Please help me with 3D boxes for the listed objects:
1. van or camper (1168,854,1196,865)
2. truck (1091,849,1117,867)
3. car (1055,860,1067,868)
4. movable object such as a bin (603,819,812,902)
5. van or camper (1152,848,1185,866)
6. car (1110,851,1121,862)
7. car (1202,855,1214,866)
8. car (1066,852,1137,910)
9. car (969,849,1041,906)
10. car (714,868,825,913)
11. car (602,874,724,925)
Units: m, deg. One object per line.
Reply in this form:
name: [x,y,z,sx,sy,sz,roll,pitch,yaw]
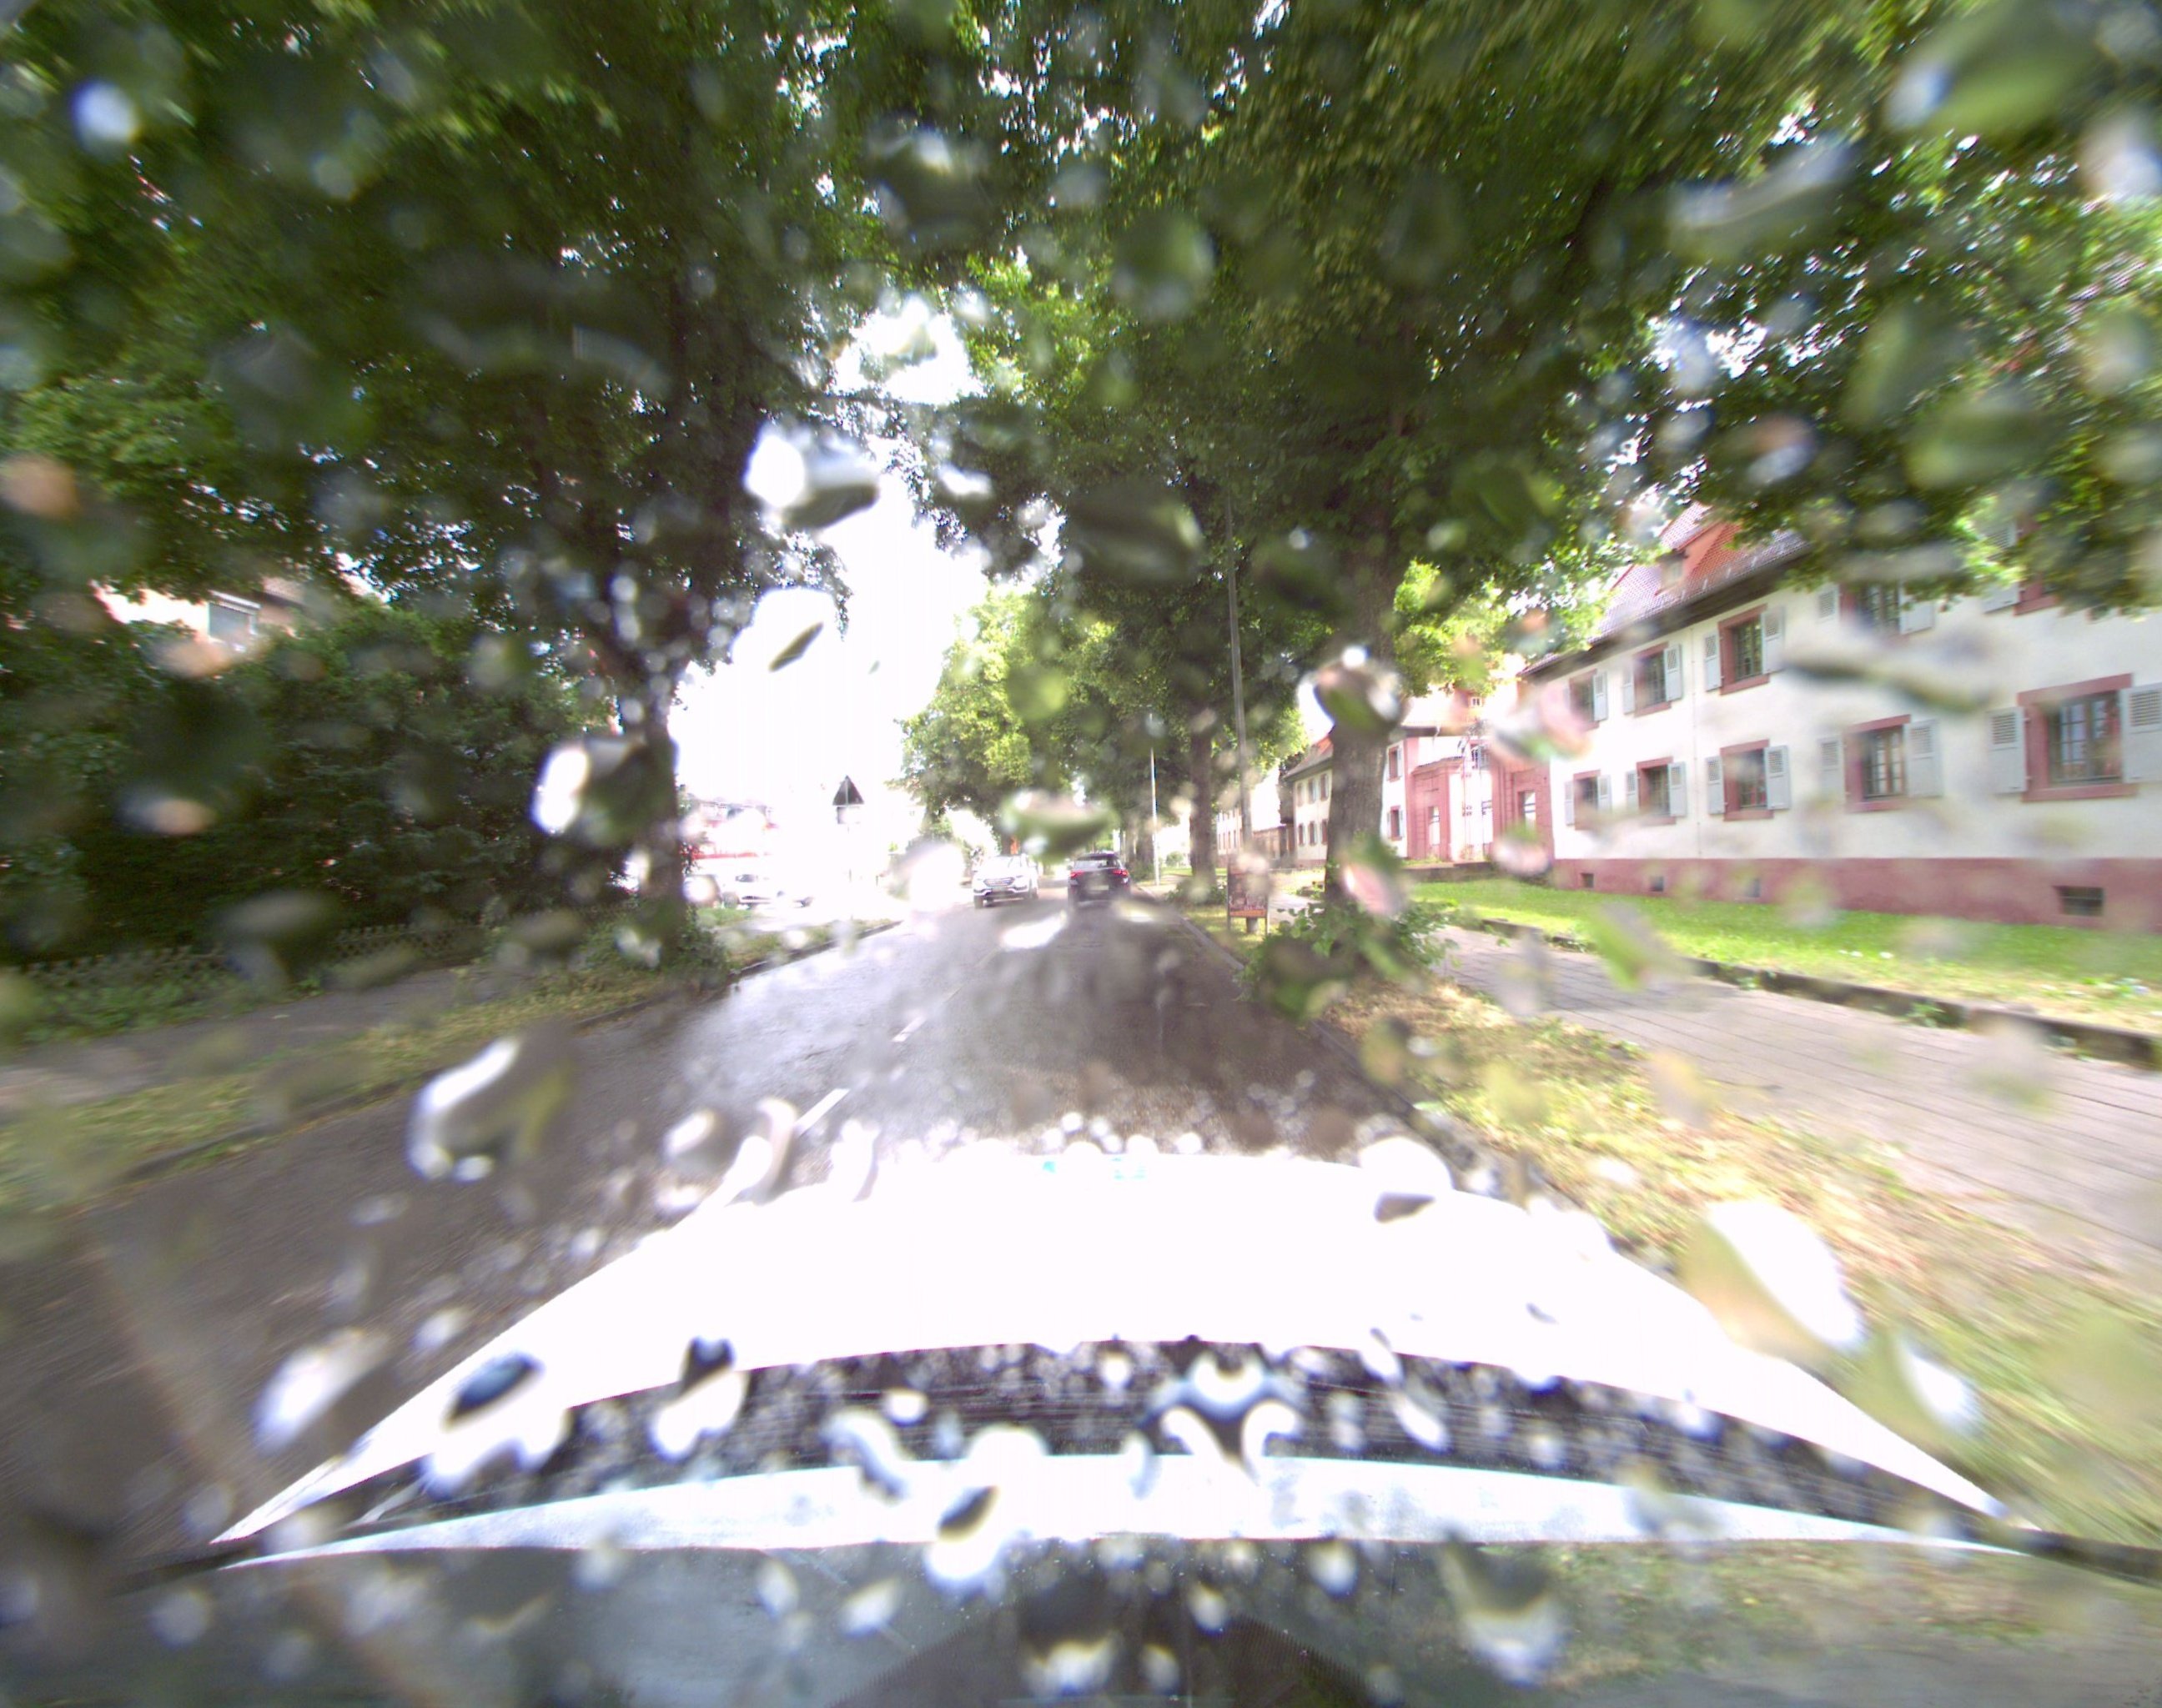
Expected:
van or camper: [18.171,1.007,146.766,4.856,1.925,2.132,-1,0,2]
truck: [3.553,0.603,126.162,2.802,2.656,8.221,-1,0,-7]
car: [-3.849,1.905,155.642,1.582,1.512,3.739,-5,-1,7]
movable object such as a bin: [-20.152,0.339,44.324,9.770,4.115,3.369,-1,0,3]
van or camper: [13.917,0.523,129.655,5.016,2.596,2.168,-3,-1,0]
car: [7.424,0.580,175.089,1.984,2.014,4.004,-3,-3,4]
car: [22.221,1.148,142.615,1.733,1.684,3.878,-5,-1,8]
car: [0.555,0.746,24.092,1.889,1.522,3.999,-1,-1,0]
car: [-2.514,0.757,28.015,1.879,1.713,4.231,-3,0,2]
car: [-12.099,1.408,31.763,3.582,1.534,1.743,-3,0,11]
car: [-12.726,1.357,25.091,1.617,1.420,3.872,-1,-2,2]
